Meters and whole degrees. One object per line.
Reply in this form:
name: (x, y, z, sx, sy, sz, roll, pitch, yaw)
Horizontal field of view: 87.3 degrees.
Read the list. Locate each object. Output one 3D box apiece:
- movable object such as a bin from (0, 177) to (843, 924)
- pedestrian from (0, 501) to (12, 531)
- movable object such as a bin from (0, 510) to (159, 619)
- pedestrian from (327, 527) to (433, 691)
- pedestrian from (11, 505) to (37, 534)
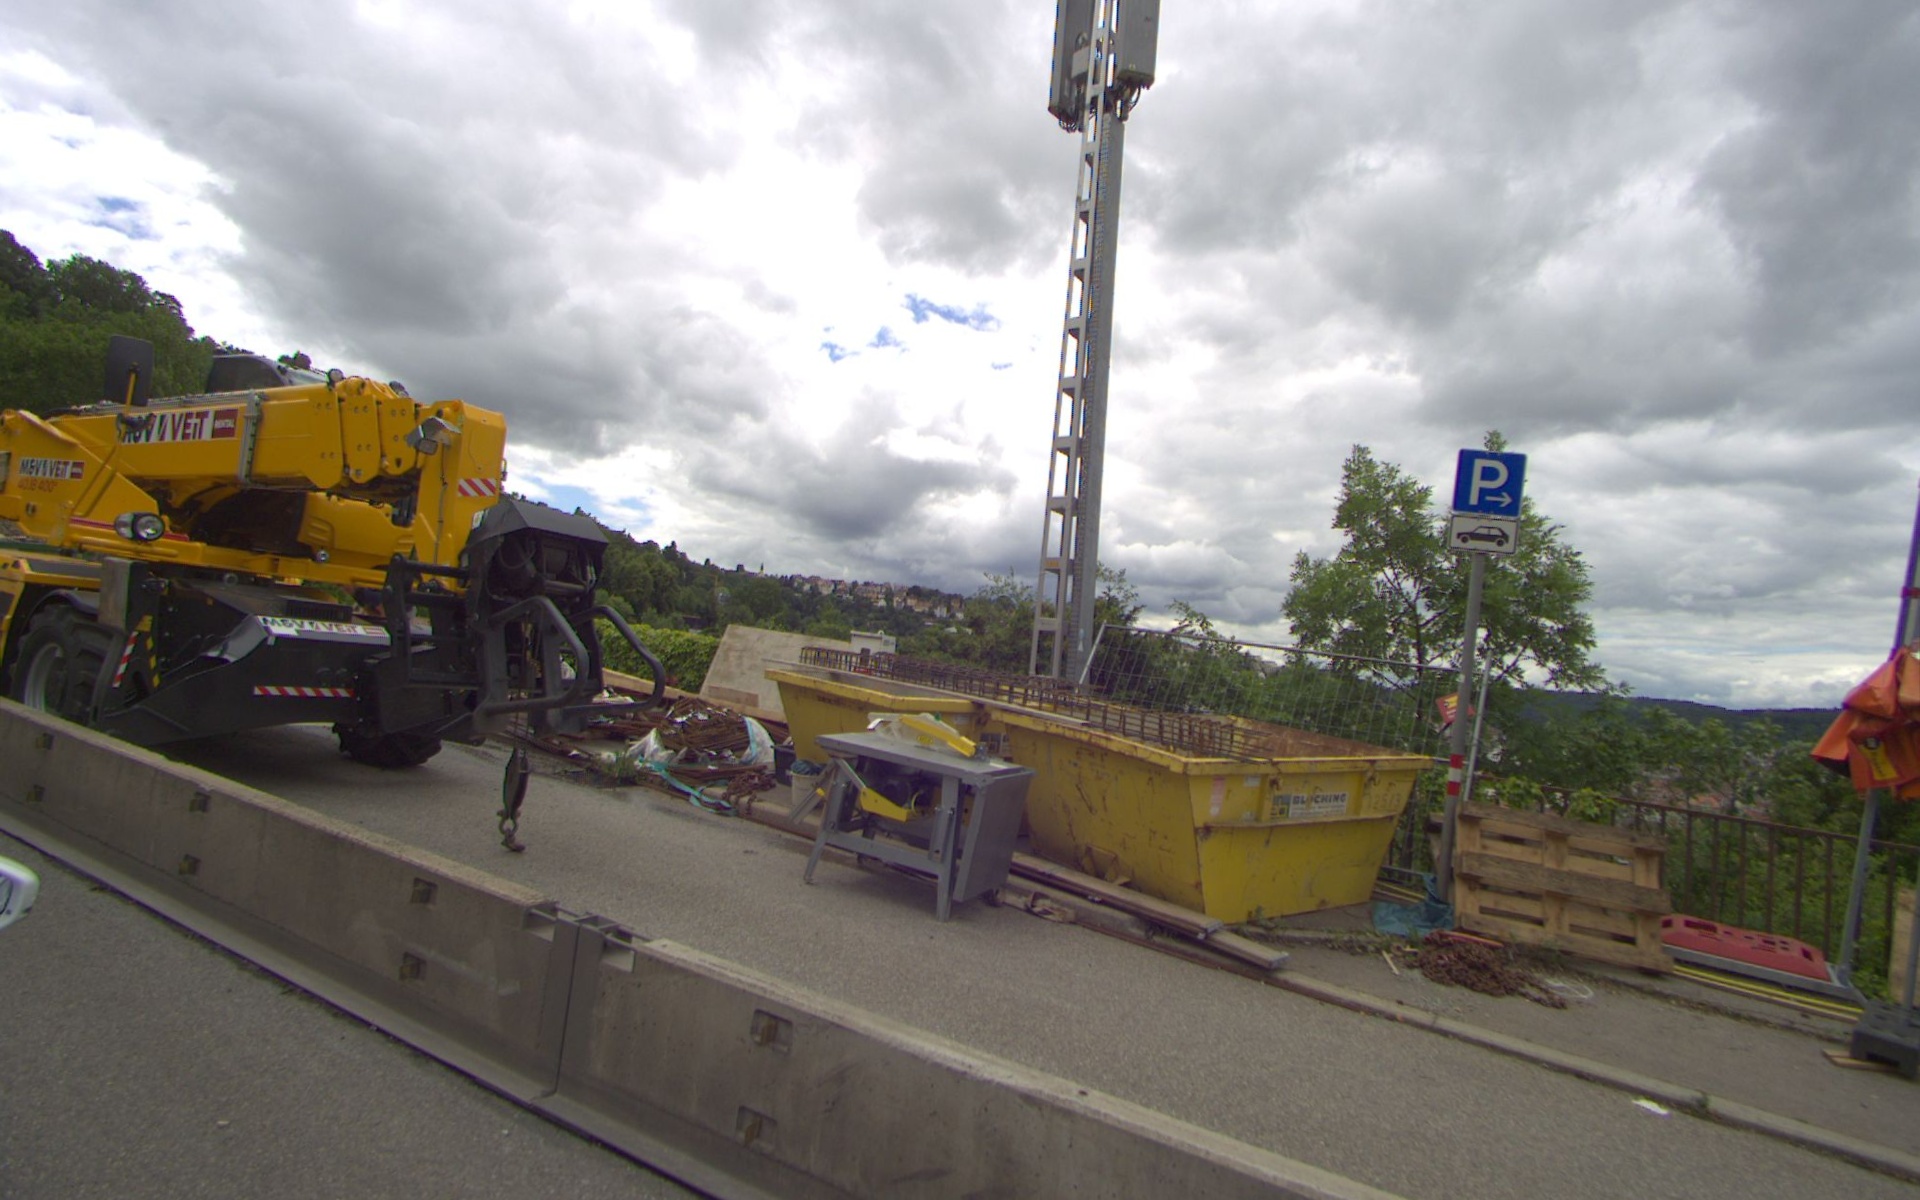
movable object such as a bin: (-4.950, -0.436, 7.319, 7.691, 3.105, 2.819, 7, -2, 31)
pedestrian: (-62.399, -5.505, 65.368, 0.870, 1.844, 0.871, 8, -1, -33)
movable object such as a bin: (-18.234, -0.884, 19.205, 6.984, 1.578, 2.379, 6, -3, 33)
pedestrian: (-6.779, 0.119, 11.777, 0.530, 1.816, 0.691, 8, -1, 22)
pedestrian: (-59.698, -5.122, 64.170, 0.773, 1.708, 0.782, 7, -1, -17)
